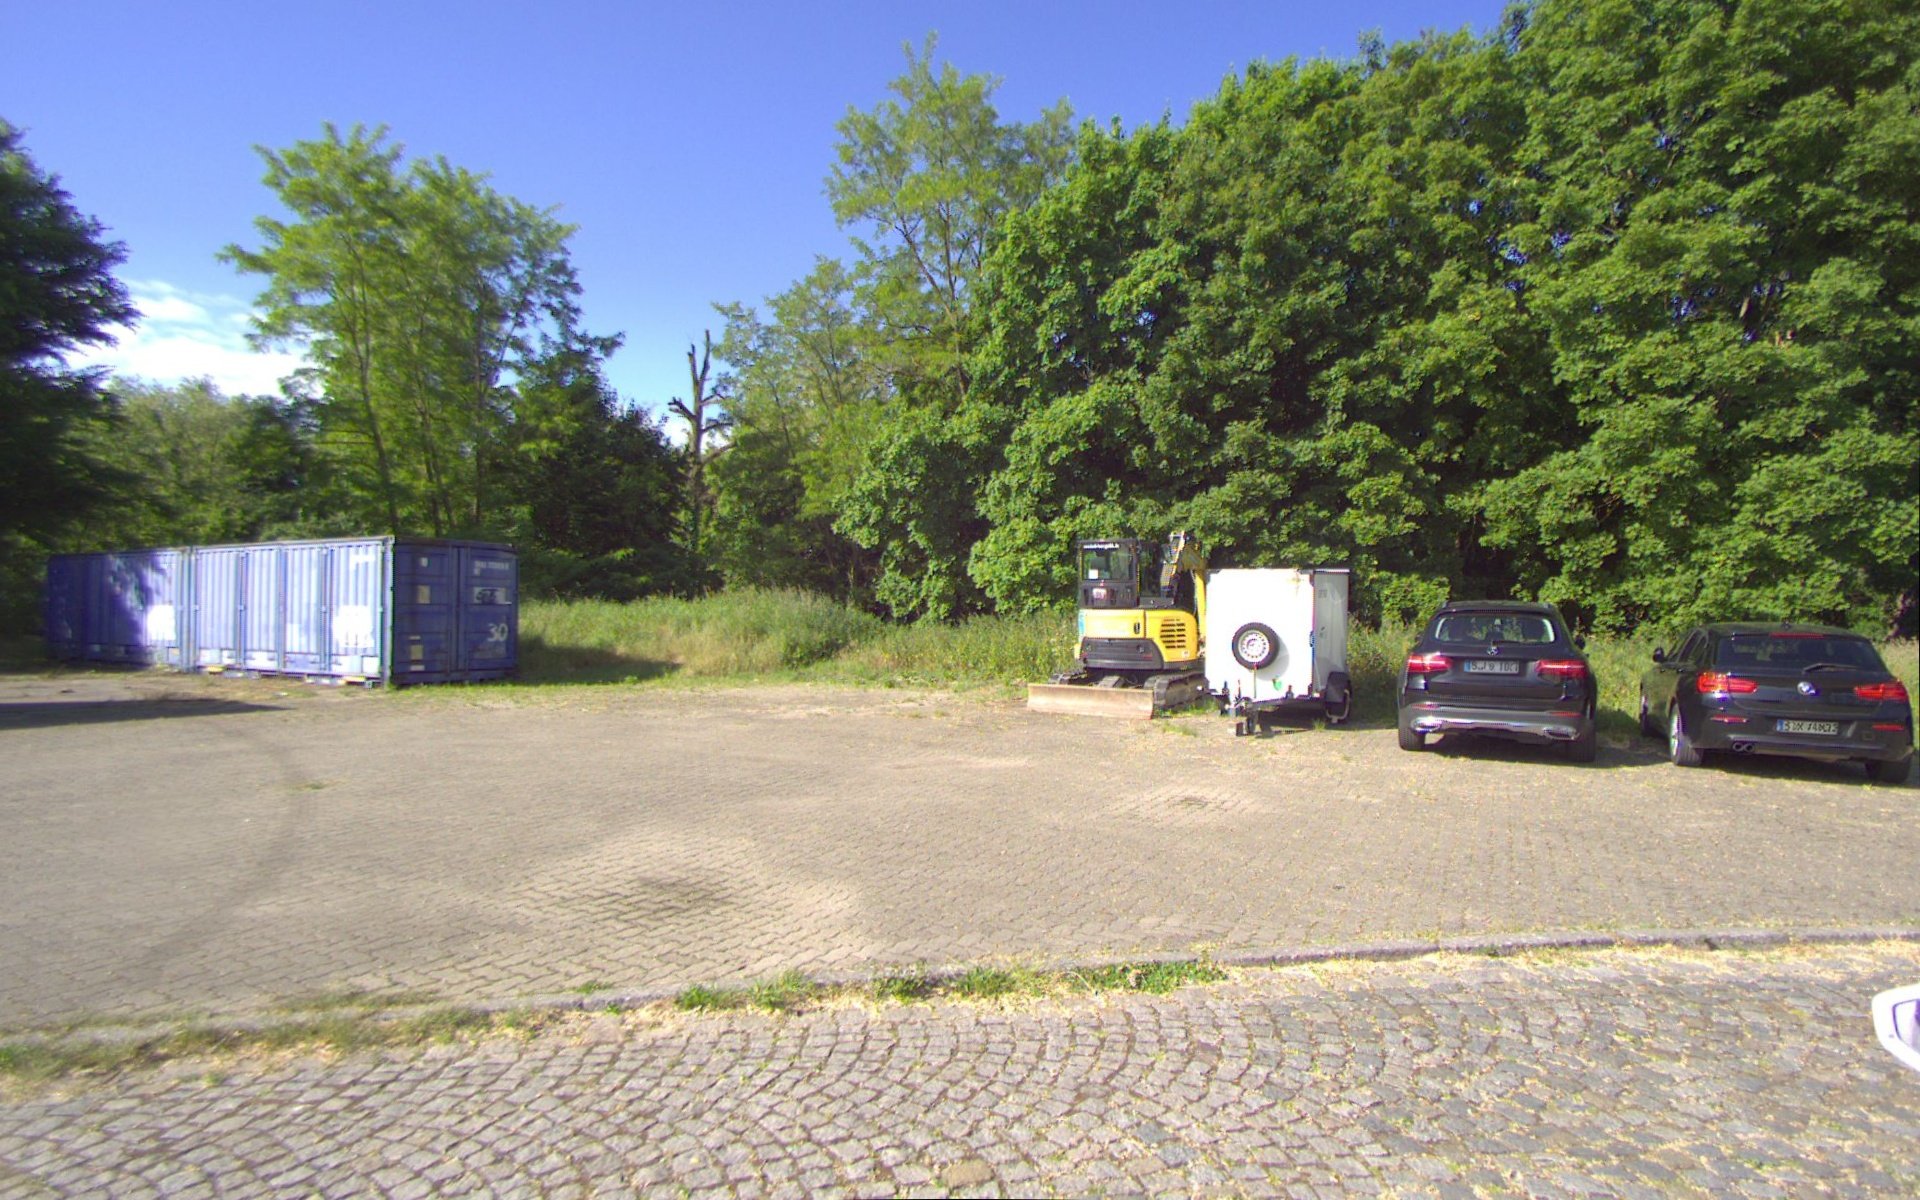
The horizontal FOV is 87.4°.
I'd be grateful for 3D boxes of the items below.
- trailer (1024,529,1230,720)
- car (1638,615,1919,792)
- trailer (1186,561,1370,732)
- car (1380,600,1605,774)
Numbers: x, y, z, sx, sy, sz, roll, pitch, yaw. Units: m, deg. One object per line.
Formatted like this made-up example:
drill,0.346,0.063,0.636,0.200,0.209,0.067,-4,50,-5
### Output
trailer,2.615,0.268,15.319,2.226,2.573,2.843,1,3,31
car,8.410,0.905,10.503,1.861,1.430,3.783,1,0,30
trailer,4.464,0.563,13.890,1.792,2.078,2.844,1,0,31
car,6.184,0.821,11.660,1.935,1.611,4.123,1,0,30
